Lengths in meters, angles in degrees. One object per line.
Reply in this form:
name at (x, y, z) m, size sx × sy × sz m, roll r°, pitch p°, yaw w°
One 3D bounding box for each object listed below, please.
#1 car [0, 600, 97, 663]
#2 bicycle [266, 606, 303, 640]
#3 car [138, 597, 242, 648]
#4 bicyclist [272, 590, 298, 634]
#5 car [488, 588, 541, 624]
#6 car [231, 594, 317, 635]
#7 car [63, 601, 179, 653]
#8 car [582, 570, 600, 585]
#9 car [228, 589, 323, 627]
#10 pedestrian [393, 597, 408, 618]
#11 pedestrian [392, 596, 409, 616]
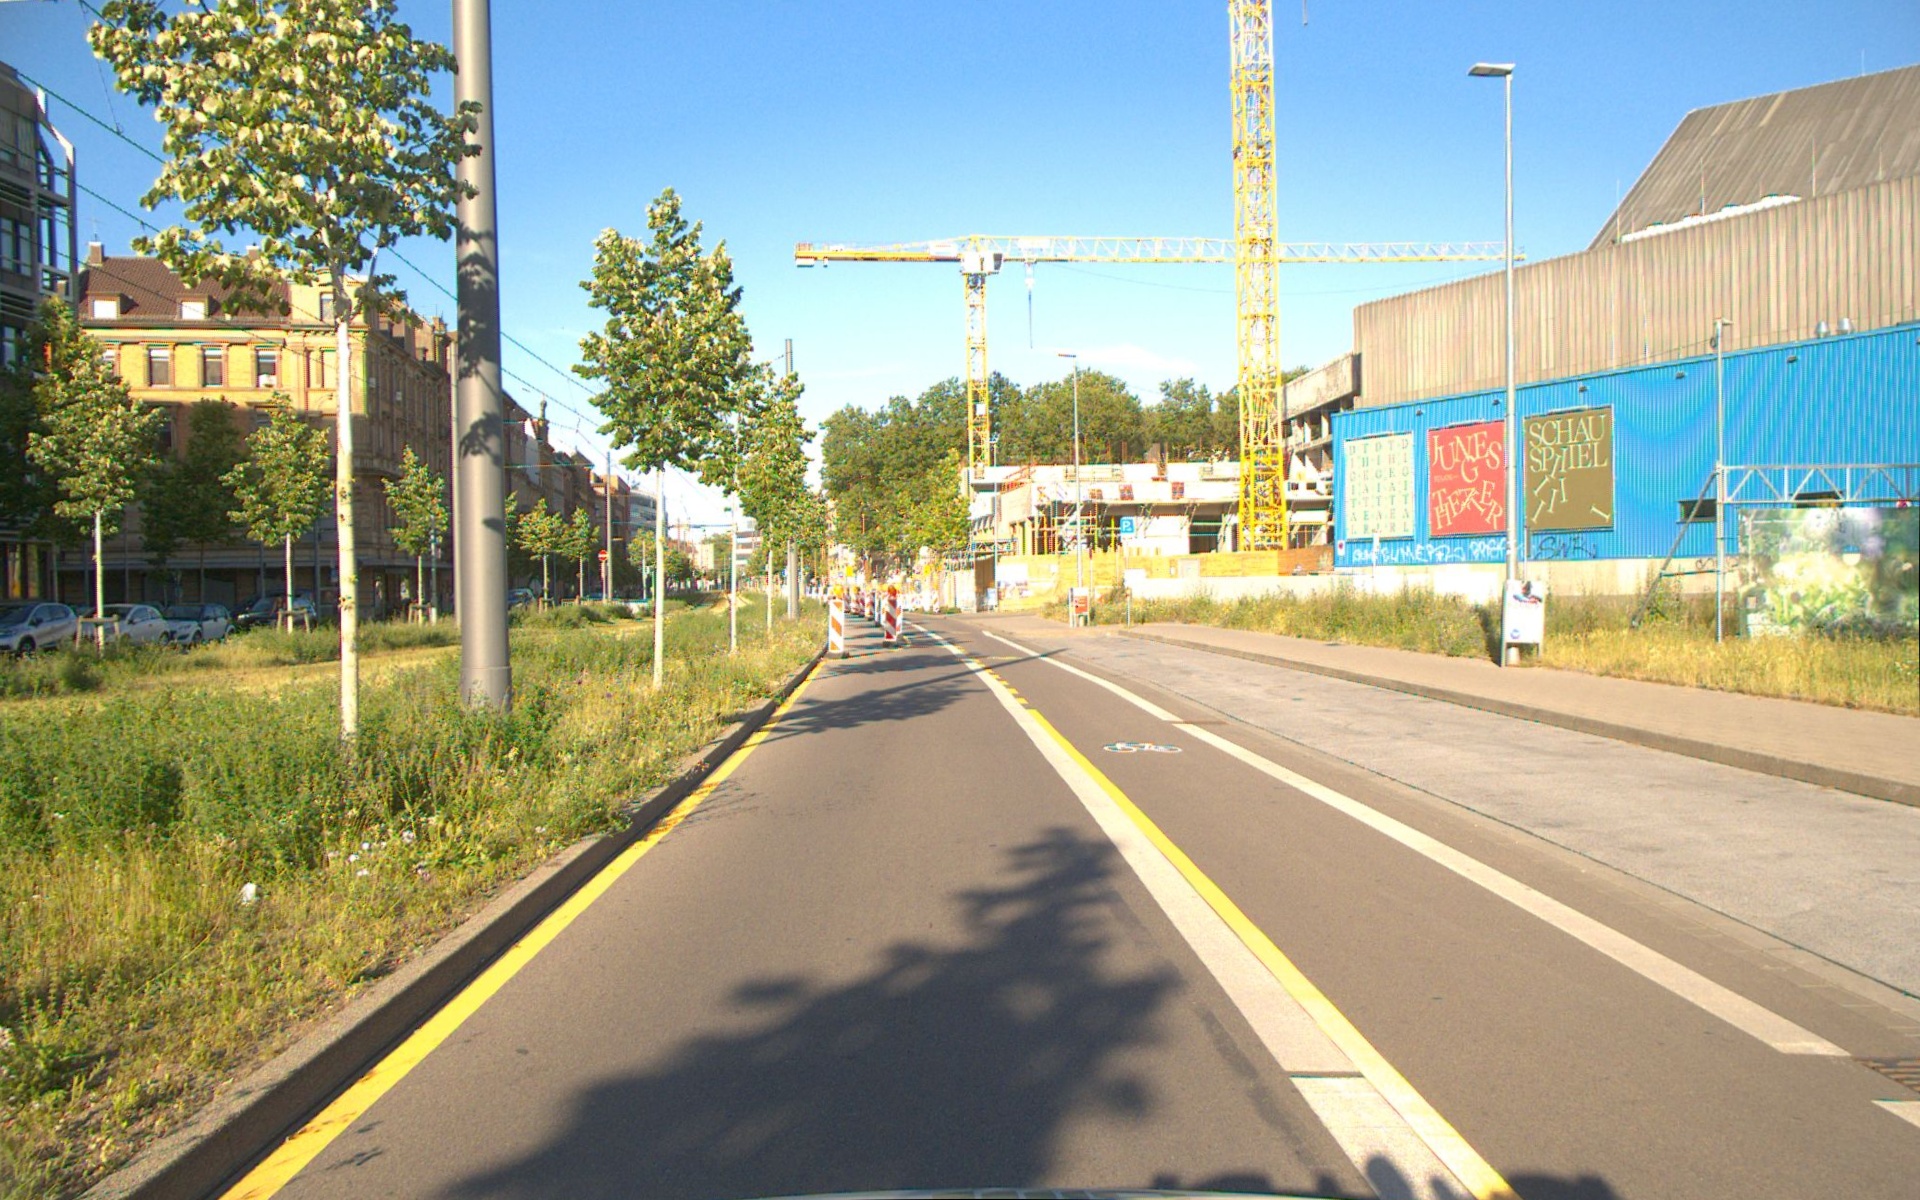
car at (-25.081, 0.818, 44.514) m, size 1.702 × 1.563 × 3.884 m, roll 0°, pitch 1°, yaw 0°
bicycle at (-23.288, 0.782, 57.077) m, size 0.553 × 1.115 × 1.770 m, roll -2°, pitch 1°, yaw -1°
car at (-25.698, 0.718, 55.318) m, size 1.615 × 1.581 × 3.966 m, roll -1°, pitch 1°, yaw 0°
bicyclist at (-23.299, 0.413, 57.114) m, size 0.553 × 1.482 × 0.706 m, roll -2°, pitch 1°, yaw -2°
car at (-22.472, 0.284, 83.533) m, size 1.693 × 1.777 × 4.119 m, roll -1°, pitch 1°, yaw -2°
car at (-26.234, 0.541, 63.387) m, size 1.695 × 1.487 × 3.900 m, roll 1°, pitch 1°, yaw 0°
car at (-25.263, 0.777, 49.927) m, size 1.591 × 1.466 × 3.819 m, roll 0°, pitch 1°, yaw 0°
car at (-38.399, -2.336, 172.218) m, size 1.537 × 1.590 × 4.705 m, roll -1°, pitch 1°, yaw -9°
car at (-36.947, 0.421, 89.360) m, size 4.431 × 1.936 × 1.892 m, roll -1°, pitch 1°, yaw -13°
pedestrian at (-33.436, 0.454, 98.838) m, size 0.677 × 1.268 × 0.928 m, roll -1°, pitch 0°, yaw -7°
pedestrian at (-34.253, 0.366, 101.286) m, size 0.776 × 1.229 × 0.928 m, roll -1°, pitch 0°, yaw -7°
